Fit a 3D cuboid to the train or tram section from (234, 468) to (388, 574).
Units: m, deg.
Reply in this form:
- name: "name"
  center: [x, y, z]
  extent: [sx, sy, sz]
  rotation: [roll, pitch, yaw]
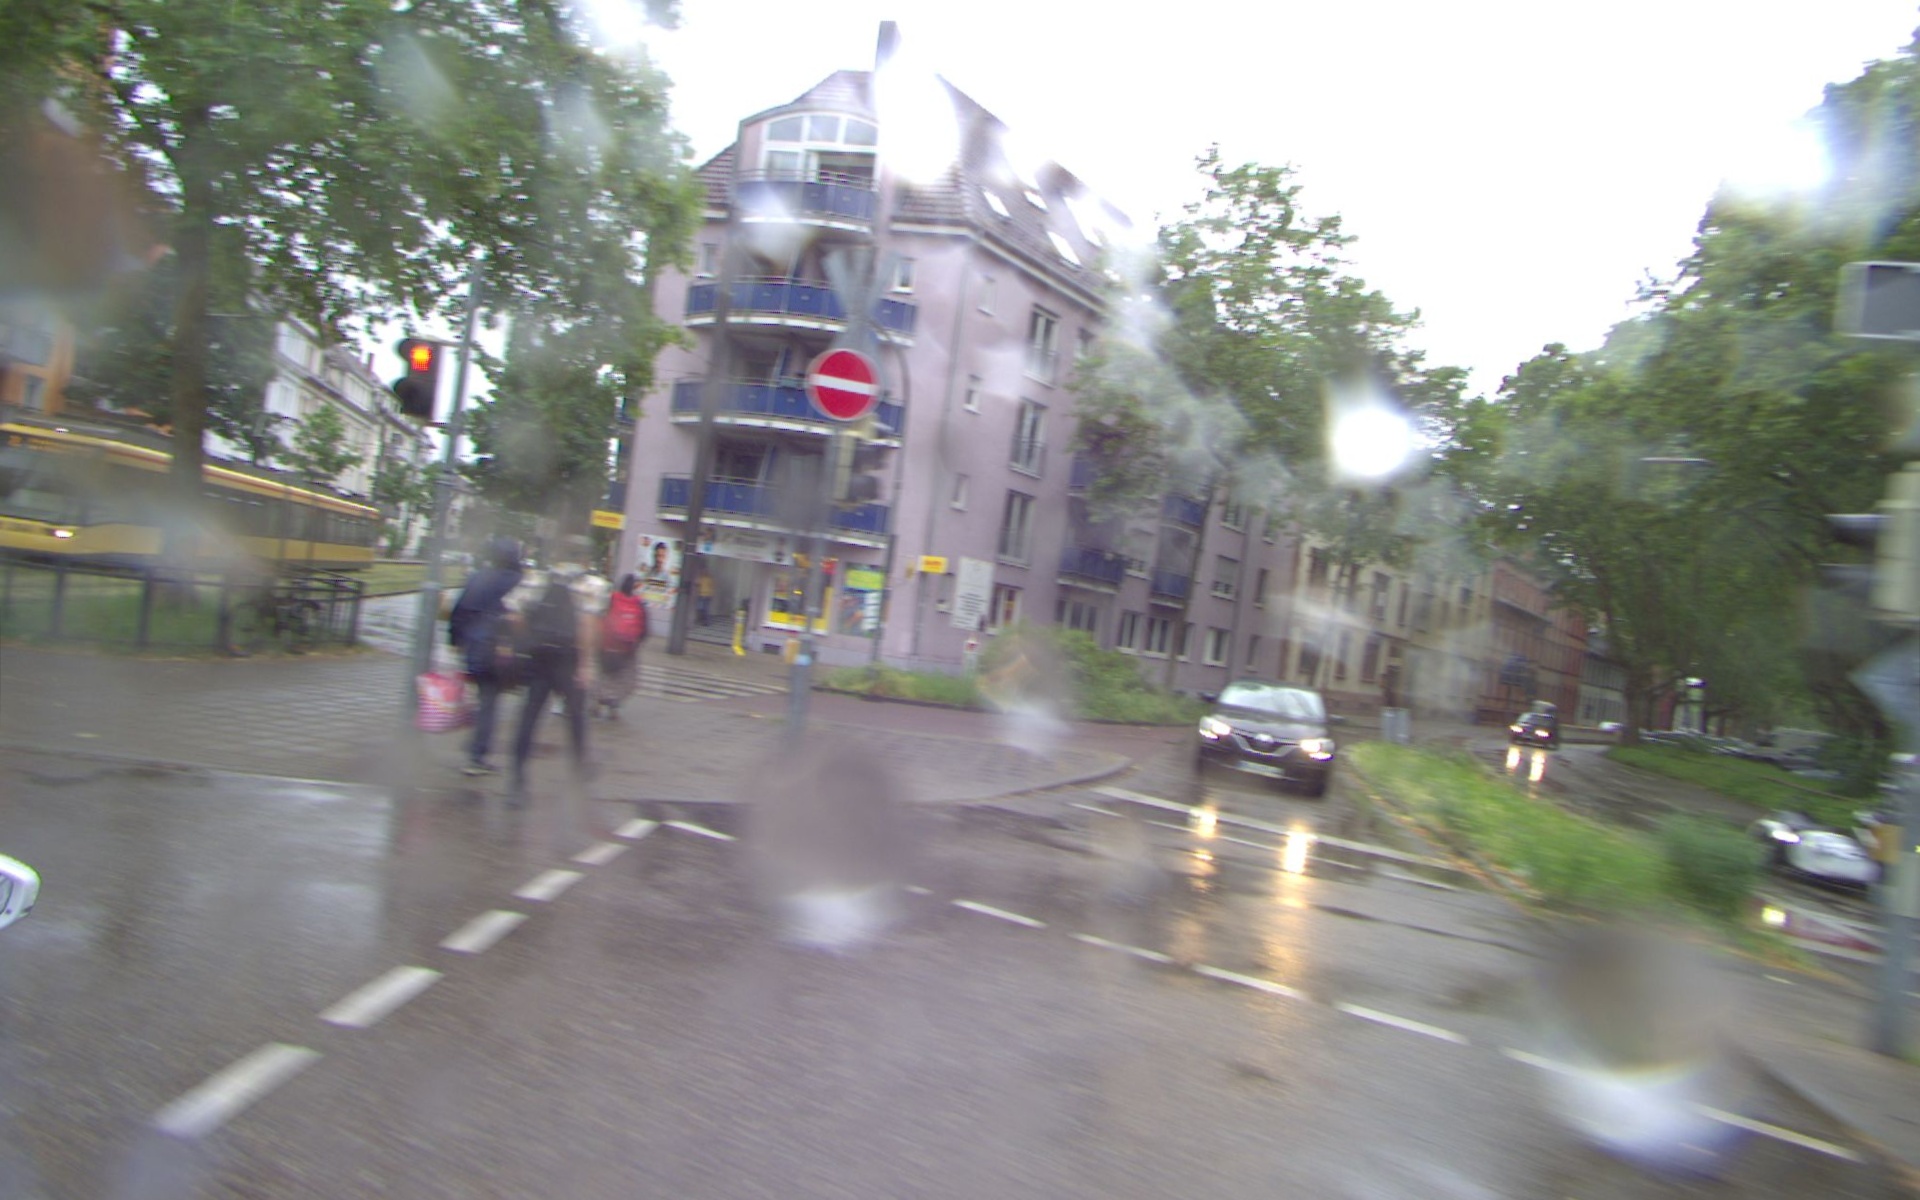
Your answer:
- name: "train or tram section"
  center: [-26.144, -2.960, 41.155]
  extent: [2.609, 3.390, 9.946]
  rotation: [8, -1, -19]

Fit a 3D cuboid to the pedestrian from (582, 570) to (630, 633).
- name: "pedestrian"
  center: [-9.858, 0.040, 28.005]
  extent: [0.984, 1.578, 0.778]
  rotation: [8, 0, -29]

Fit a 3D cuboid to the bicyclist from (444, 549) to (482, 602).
- name: "bicyclist"
  center: [-13.790, -0.694, 27.906]
  extent: [0.735, 1.325, 1.068]
  rotation: [7, 1, -30]

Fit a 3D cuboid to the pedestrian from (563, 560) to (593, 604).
- name: "pedestrian"
  center: [-16.352, -0.777, 43.106]
  extent: [0.907, 1.718, 0.952]
  rotation: [8, 0, -16]

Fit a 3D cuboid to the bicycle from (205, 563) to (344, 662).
- name: "bicycle"
  center: [-8.392, 0.171, 12.398]
  extent: [0.438, 1.089, 1.620]
  rotation: [8, -1, 2]

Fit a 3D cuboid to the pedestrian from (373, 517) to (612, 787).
- name: "pedestrian"
  center: [-3.374, 0.362, 7.365]
  extent: [0.977, 1.707, 1.056]
  rotation: [8, 1, 10]

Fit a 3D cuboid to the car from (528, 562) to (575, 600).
- name: "car"
  center: [-21.580, -1.015, 53.246]
  extent: [1.973, 1.693, 3.981]
  rotation: [8, -1, -21]

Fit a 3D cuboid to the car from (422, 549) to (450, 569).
- name: "car"
  center: [-50.449, -3.958, 96.906]
  extent: [1.975, 1.550, 3.978]
  rotation: [9, -1, -24]

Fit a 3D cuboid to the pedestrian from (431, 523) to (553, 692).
- name: "pedestrian"
  center: [-4.761, 0.068, 10.320]
  extent: [0.866, 1.544, 1.060]
  rotation: [8, 0, -20]

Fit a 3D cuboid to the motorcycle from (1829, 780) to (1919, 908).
- name: "motorcycle"
  center: [11.356, 2.910, 11.866]
  extent: [0.865, 1.229, 2.076]
  rotation: [8, -1, 20]

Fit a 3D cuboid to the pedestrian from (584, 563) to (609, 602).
- name: "pedestrian"
  center: [-17.272, -0.847, 47.756]
  extent: [0.909, 1.718, 0.951]
  rotation: [8, 0, -21]

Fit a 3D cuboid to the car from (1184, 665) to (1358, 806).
- name: "car"
  center: [4.579, 1.861, 14.883]
  extent: [1.957, 1.478, 4.181]
  rotation: [8, -1, 18]

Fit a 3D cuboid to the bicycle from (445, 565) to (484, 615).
- name: "bicycle"
  center: [-13.852, -0.300, 28.088]
  extent: [0.745, 1.187, 2.025]
  rotation: [7, 0, -29]

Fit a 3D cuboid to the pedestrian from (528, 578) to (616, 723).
- name: "pedestrian"
  center: [-4.111, 0.516, 10.732]
  extent: [0.664, 1.398, 1.006]
  rotation: [7, 0, -18]

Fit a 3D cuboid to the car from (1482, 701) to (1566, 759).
- name: "car"
  center: [26.323, 6.035, 47.100]
  extent: [1.962, 2.037, 4.004]
  rotation: [9, -1, 10]

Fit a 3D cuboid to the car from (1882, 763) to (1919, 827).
- name: "car"
  center: [25.775, 5.206, 25.107]
  extent: [3.785, 1.439, 1.879]
  rotation: [8, 0, 38]

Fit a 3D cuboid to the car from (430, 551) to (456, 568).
- name: "car"
  center: [-52.522, -4.088, 102.289]
  extent: [1.975, 1.414, 3.978]
  rotation: [9, -1, -24]

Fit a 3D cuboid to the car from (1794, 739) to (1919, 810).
- name: "car"
  center: [29.948, 5.724, 32.678]
  extent: [1.986, 1.674, 3.956]
  rotation: [9, -2, -39]

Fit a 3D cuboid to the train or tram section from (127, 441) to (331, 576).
- name: "train or tram section"
  center: [-23.181, -2.653, 32.502]
  extent: [2.609, 3.390, 8.342]
  rotation: [8, -1, -19]

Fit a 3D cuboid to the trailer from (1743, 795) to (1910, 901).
- name: "trailer"
  center: [10.463, 2.972, 12.230]
  extent: [1.008, 0.851, 1.483]
  rotation: [8, -1, 22]

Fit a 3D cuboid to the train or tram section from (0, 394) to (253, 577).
- name: "train or tram section"
  center: [-20.535, -2.484, 24.601]
  extent: [2.609, 3.408, 8.345]
  rotation: [8, -1, -18]

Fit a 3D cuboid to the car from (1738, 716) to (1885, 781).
- name: "car"
  center: [45.447, 7.875, 53.905]
  extent: [2.200, 2.429, 5.590]
  rotation: [8, -1, -15]

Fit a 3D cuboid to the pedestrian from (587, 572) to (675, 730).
- name: "pedestrian"
  center: [-3.500, 0.526, 10.743]
  extent: [0.682, 1.567, 0.758]
  rotation: [7, 1, -18]

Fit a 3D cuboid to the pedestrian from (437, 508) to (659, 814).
- name: "pedestrian"
  center: [-2.717, 0.387, 6.751]
  extent: [0.796, 1.803, 0.995]
  rotation: [8, 1, 7]

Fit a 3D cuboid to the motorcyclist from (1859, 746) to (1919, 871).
- name: "motorcyclist"
  center: [11.411, 2.495, 11.932]
  extent: [0.744, 1.367, 0.755]
  rotation: [8, -1, 20]

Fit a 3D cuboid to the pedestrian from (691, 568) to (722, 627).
- name: "pedestrian"
  center: [-7.298, -0.058, 28.966]
  extent: [0.464, 1.621, 0.594]
  rotation: [8, 0, 6]

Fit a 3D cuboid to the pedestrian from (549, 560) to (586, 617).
- name: "pedestrian"
  center: [-12.990, -0.390, 33.305]
  extent: [0.943, 1.718, 0.917]
  rotation: [8, 0, -21]
